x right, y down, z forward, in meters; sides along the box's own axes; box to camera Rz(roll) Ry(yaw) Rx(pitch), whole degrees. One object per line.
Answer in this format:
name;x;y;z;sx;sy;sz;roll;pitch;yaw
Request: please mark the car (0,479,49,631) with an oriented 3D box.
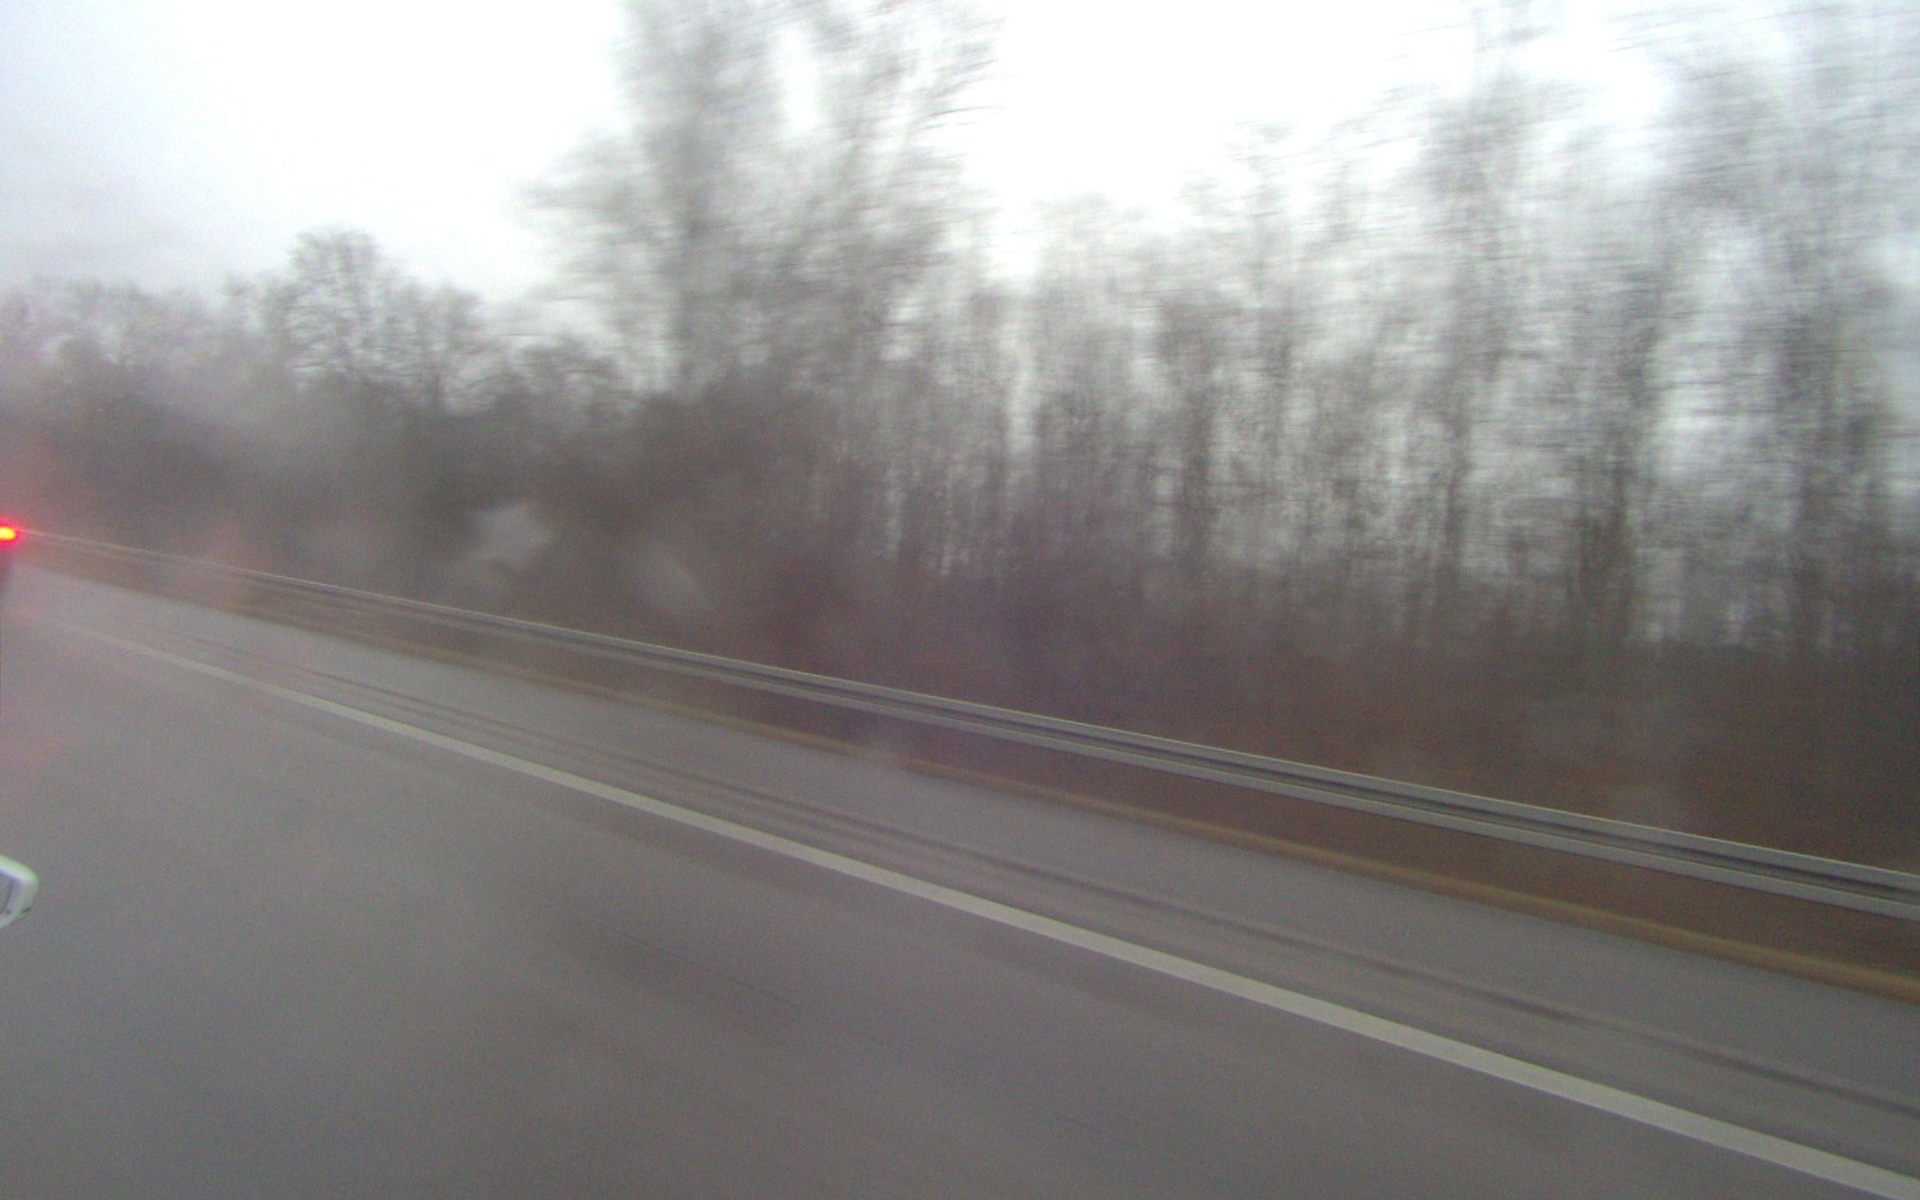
car;-13.223;-0.802;12.111;4.387;1.717;2.074;7;-1;31
